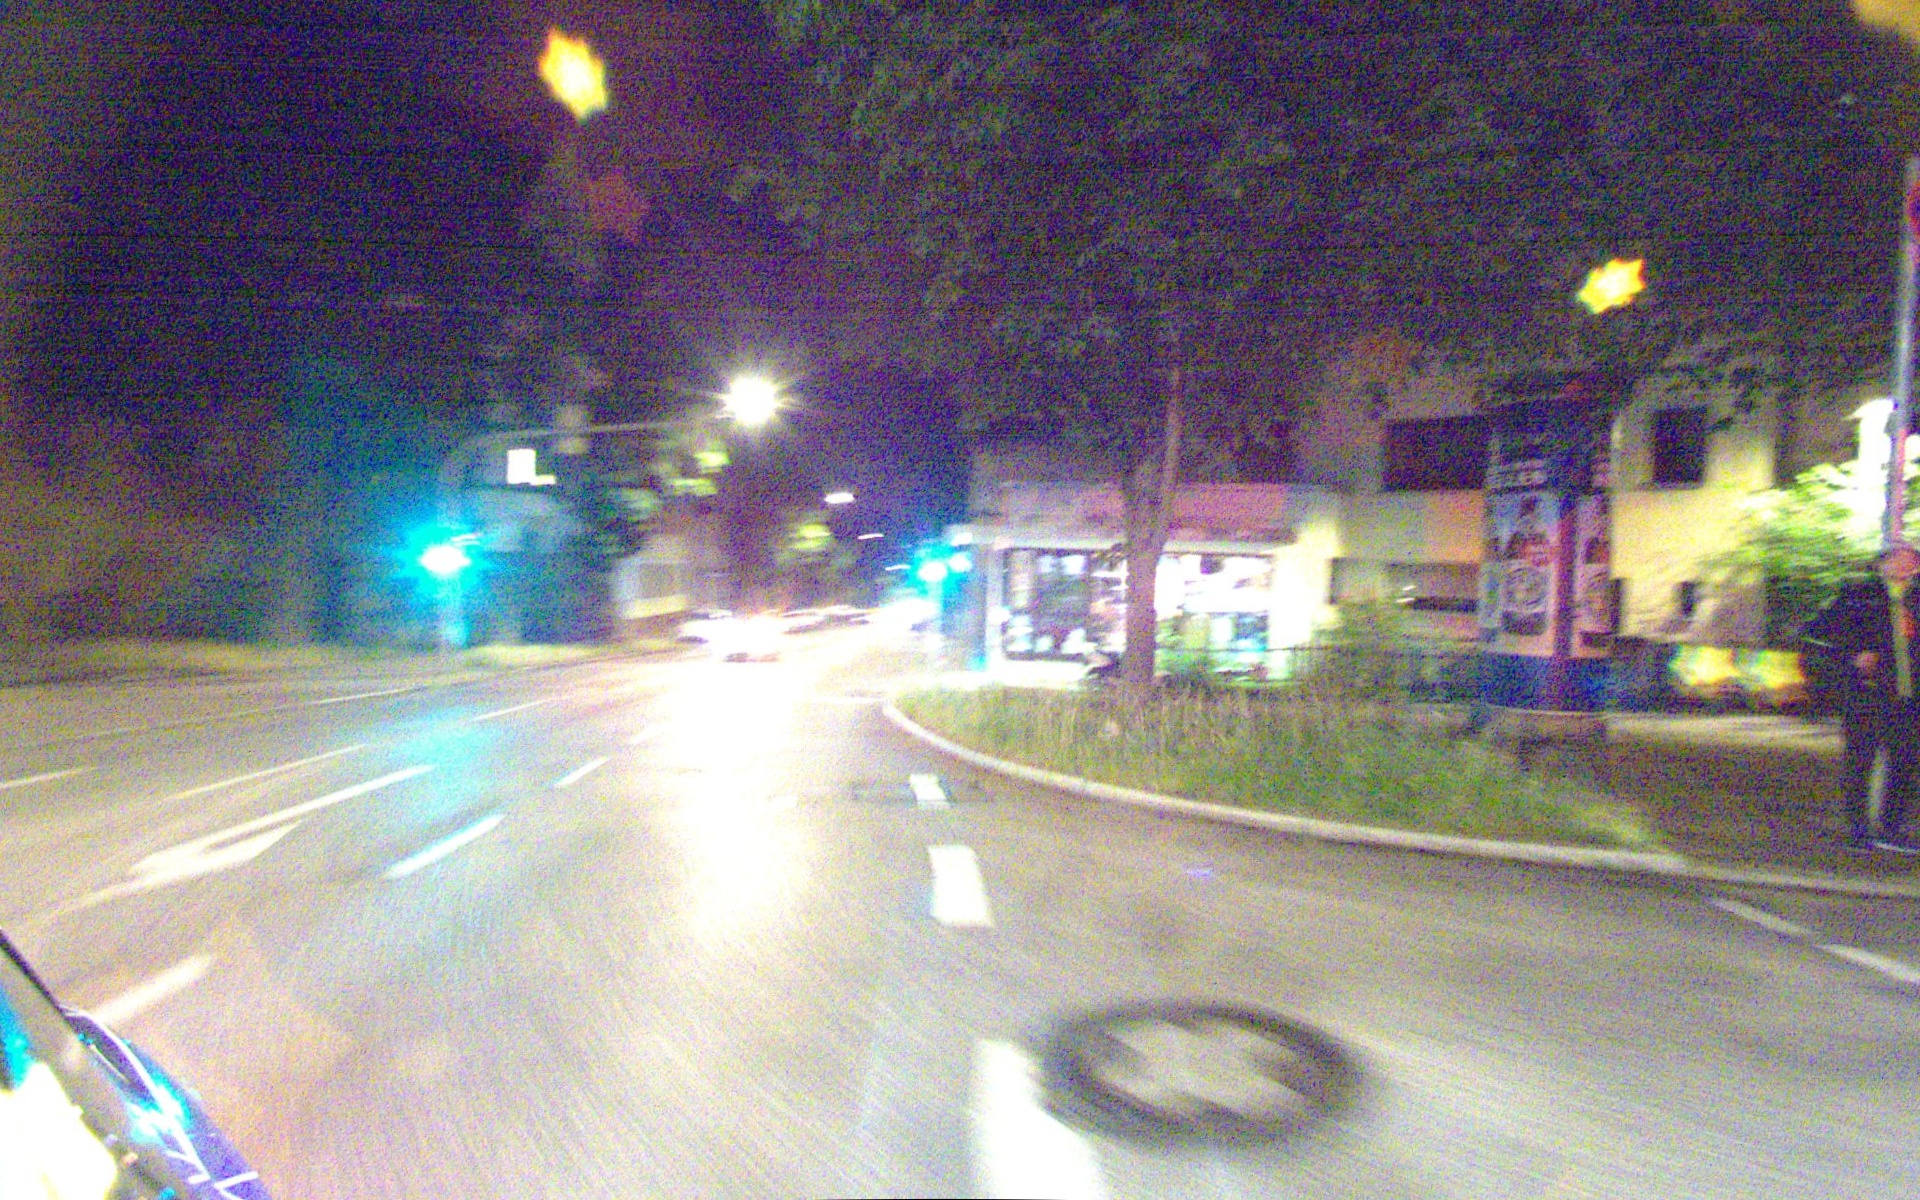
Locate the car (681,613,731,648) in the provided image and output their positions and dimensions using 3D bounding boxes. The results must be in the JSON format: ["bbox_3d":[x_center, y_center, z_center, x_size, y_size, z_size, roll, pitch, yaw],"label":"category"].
[{"bbox_3d":[-11.911,1.400,47.584,1.603,1.505,3.410,2,-1,-3],"label":"car"}]

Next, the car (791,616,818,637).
[{"bbox_3d":[-12.249,2.088,79.852,1.516,1.604,3.555,2,-1,0],"label":"car"}]

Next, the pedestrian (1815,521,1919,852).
[{"bbox_3d":[5.438,0.472,5.745,0.687,1.806,0.520,-1,-1,17],"label":"pedestrian"}]

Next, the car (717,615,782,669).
[{"bbox_3d":[-6.356,1.225,30.777,1.492,1.513,3.052,-1,0,-3],"label":"car"}]

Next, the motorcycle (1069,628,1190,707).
[{"bbox_3d":[2.835,1.107,17.145,2.041,1.239,0.609,-1,-1,45],"label":"motorcycle"}]

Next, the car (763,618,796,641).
[{"bbox_3d":[-11.826,1.914,66.405,1.516,1.426,3.408,2,-1,0],"label":"car"}]

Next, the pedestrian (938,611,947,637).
[{"bbox_3d":[-1.062,1.425,60.696,0.553,1.542,0.590,0,-1,-1],"label":"pedestrian"}]

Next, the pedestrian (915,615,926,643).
[{"bbox_3d":[-2.360,1.754,60.613,0.641,1.654,0.747,0,-1,1],"label":"pedestrian"}]
